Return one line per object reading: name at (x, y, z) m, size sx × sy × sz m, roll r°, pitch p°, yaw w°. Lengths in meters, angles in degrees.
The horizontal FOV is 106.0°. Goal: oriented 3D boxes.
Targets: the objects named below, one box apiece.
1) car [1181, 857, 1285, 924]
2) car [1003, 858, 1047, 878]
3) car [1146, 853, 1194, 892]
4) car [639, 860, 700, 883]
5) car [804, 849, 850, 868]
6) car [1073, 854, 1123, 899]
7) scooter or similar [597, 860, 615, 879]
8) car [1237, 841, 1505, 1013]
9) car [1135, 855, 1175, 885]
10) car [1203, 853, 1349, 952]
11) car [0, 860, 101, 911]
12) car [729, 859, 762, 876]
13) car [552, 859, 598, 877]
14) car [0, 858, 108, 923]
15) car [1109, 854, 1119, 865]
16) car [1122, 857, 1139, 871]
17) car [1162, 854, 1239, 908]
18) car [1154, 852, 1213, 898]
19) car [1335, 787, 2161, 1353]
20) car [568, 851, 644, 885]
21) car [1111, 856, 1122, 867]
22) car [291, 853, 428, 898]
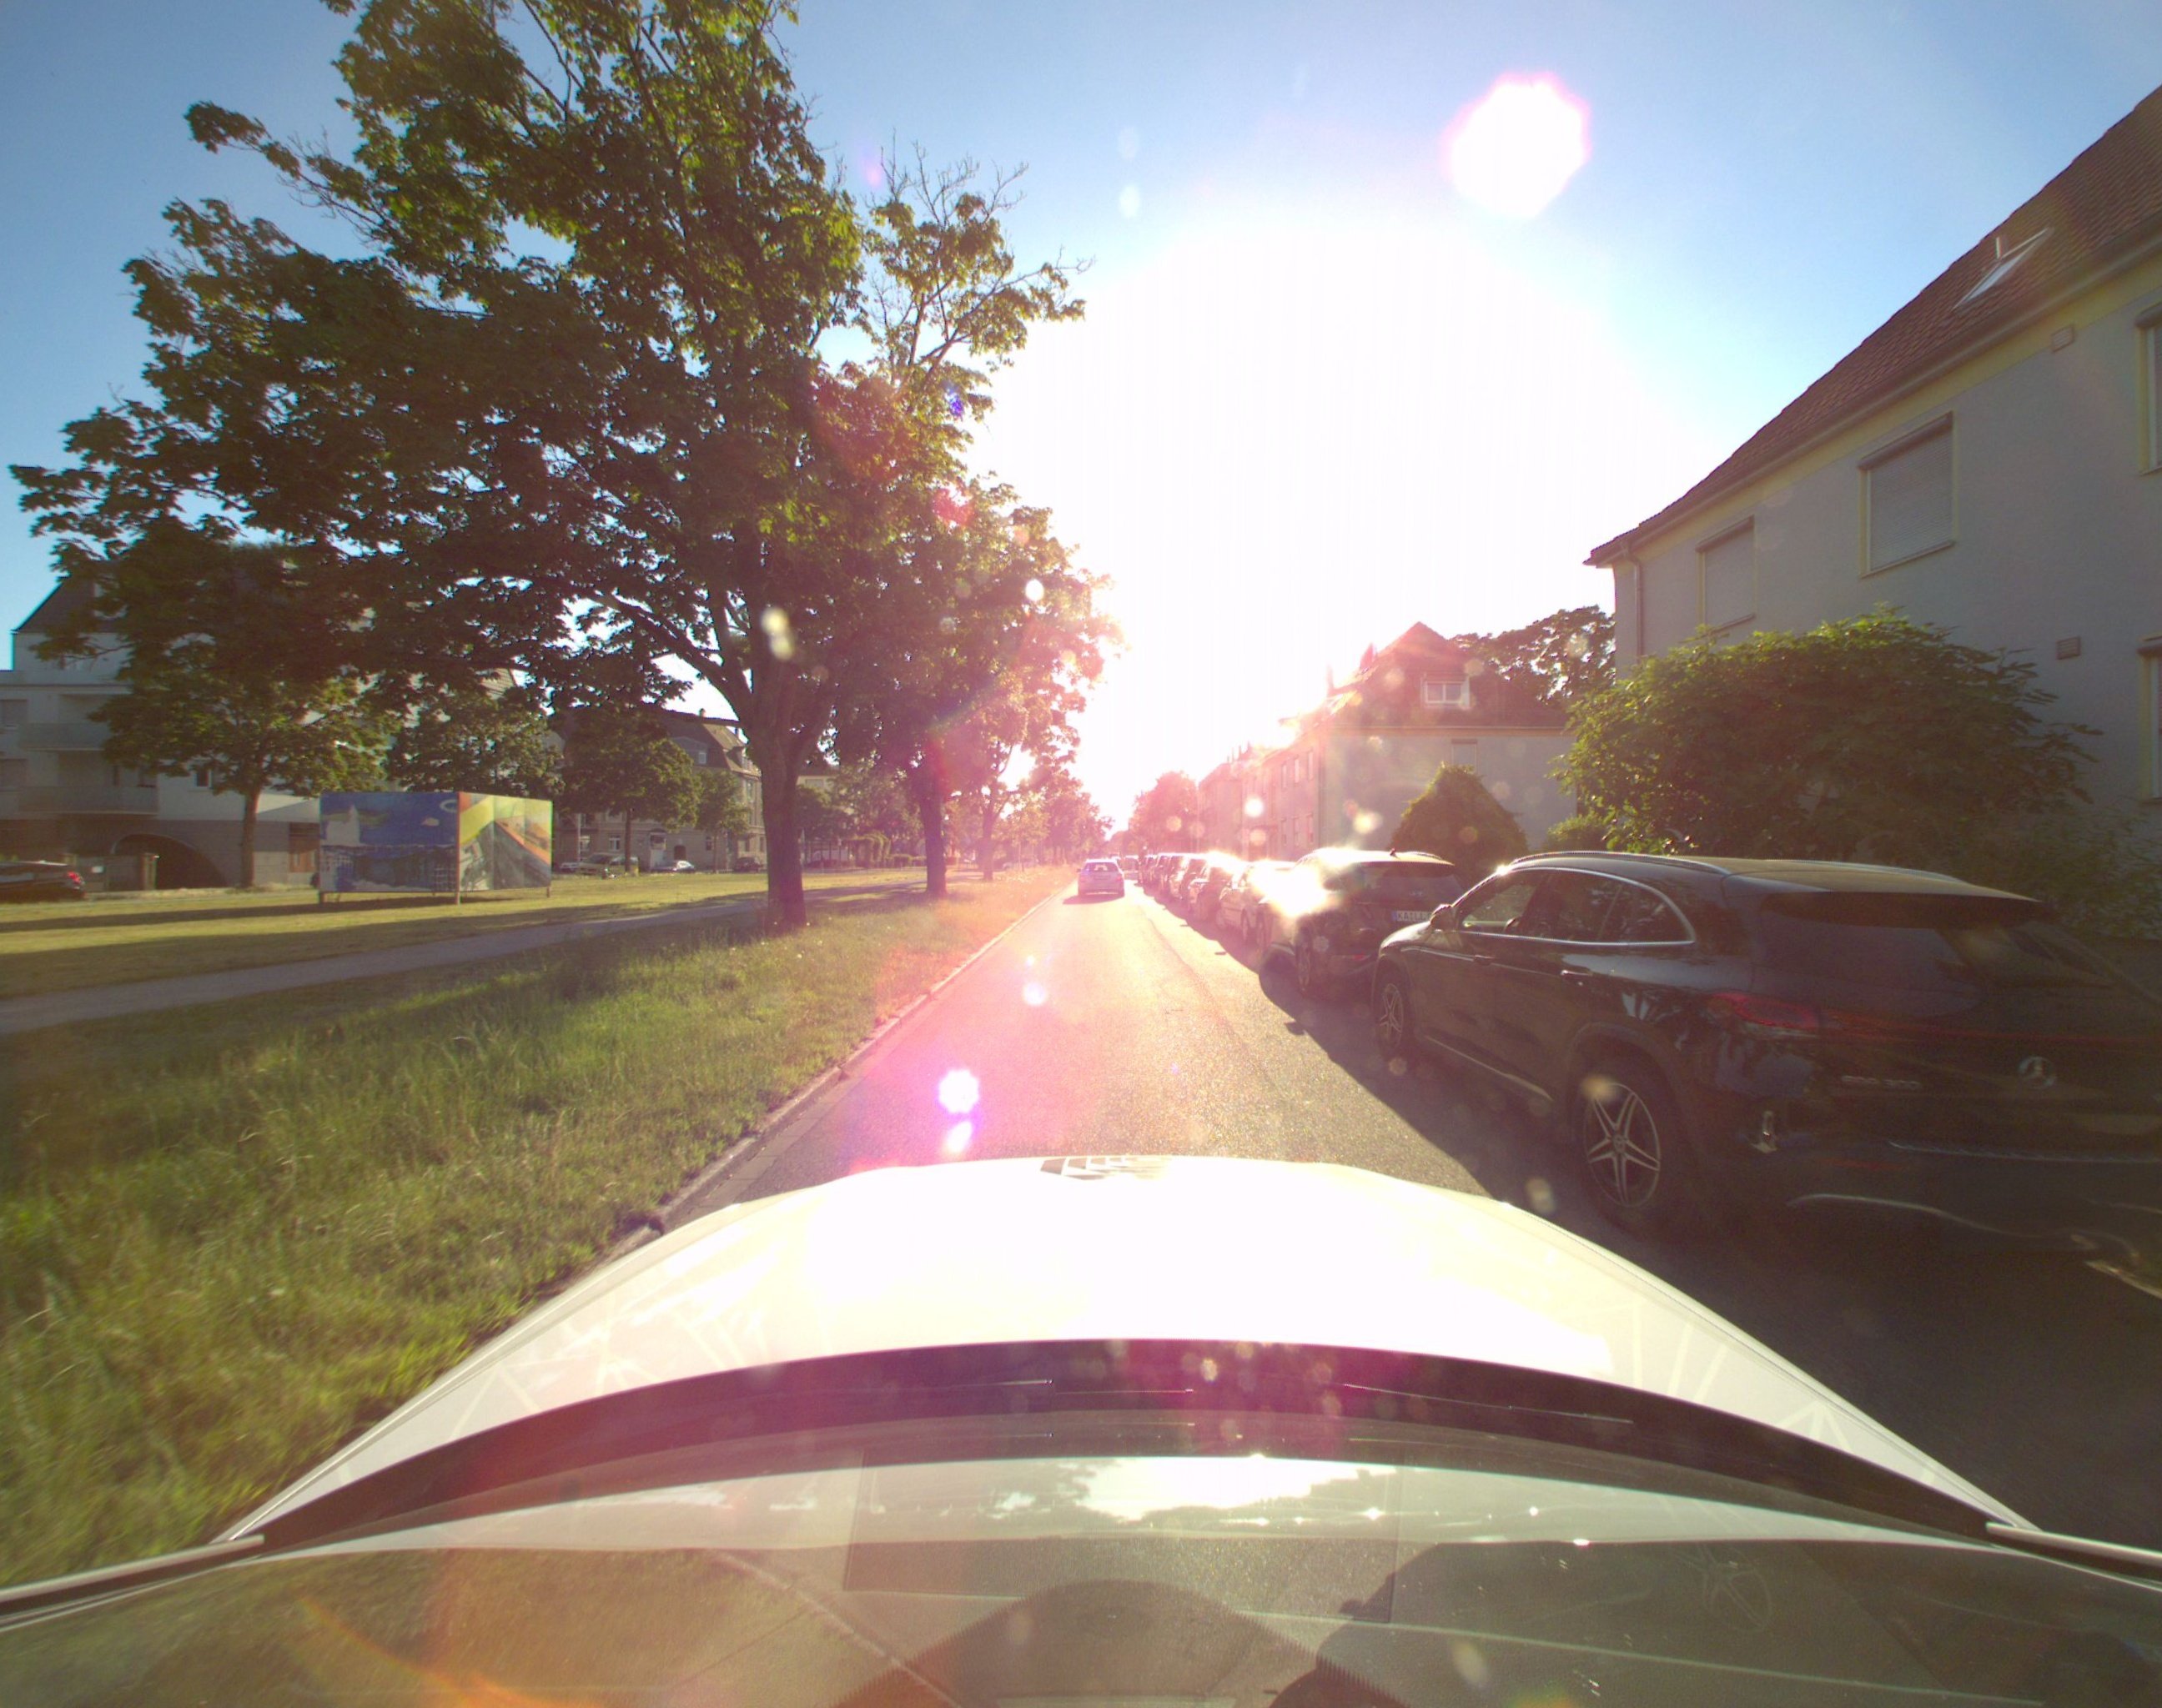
car at (3.731, 0.834, 20.781) m, size 1.985 × 1.462 × 4.565 m, roll 1°, pitch 0°, yaw 3°
car at (-5.250, 1.339, 76.405) m, size 3.880 × 1.596 × 2.000 m, roll -4°, pitch -1°, yaw 0°
car at (4.007, 0.835, 37.204) m, size 1.771 × 1.643 × 4.757 m, roll 0°, pitch -1°, yaw 1°
car at (-32.199, 1.352, 63.900) m, size 1.975 × 1.637 × 4.832 m, roll -4°, pitch -1°, yaw 3°
car at (-38.419, 0.671, 123.351) m, size 6.332 × 2.720 × 1.984 m, roll 0°, pitch 0°, yaw -29°
car at (0.692, 0.823, 31.589) m, size 1.816 × 1.566 × 4.002 m, roll -1°, pitch 0°, yaw 2°
scooter or similar at (-28.132, 0.905, 48.290) m, size 0.391 × 1.127 × 1.294 m, roll 1°, pitch -1°, yaw -6°
car at (3.301, 0.711, 10.394) m, size 1.847 × 1.657 × 4.822 m, roll 1°, pitch 0°, yaw 2°
car at (4.255, 0.900, 47.397) m, size 1.712 × 1.639 × 4.560 m, roll 2°, pitch 0°, yaw -2°
car at (3.599, 0.856, 15.833) m, size 1.722 × 1.548 × 4.206 m, roll 4°, pitch -1°, yaw 0°
car at (-39.042, 1.148, 29.384) m, size 1.814 × 1.744 × 4.462 m, roll -4°, pitch -1°, yaw 2°
car at (-36.797, 1.450, 89.438) m, size 1.637 × 1.707 × 4.296 m, roll -4°, pitch -1°, yaw 3°
car at (-49.670, 1.369, 80.027) m, size 1.689 × 1.637 × 4.080 m, roll -4°, pitch -1°, yaw 3°
car at (-33.272, 1.150, 24.824) m, size 1.882 × 1.917 × 4.328 m, roll -4°, pitch -1°, yaw 1°
car at (6.797, 1.138, 167.579) m, size 1.854 × 2.193 × 5.072 m, roll 0°, pitch -1°, yaw 2°
car at (5.533, 1.146, 91.231) m, size 1.715 × 1.597 × 4.001 m, roll -1°, pitch -1°, yaw 2°
car at (3.710, 0.810, 25.955) m, size 1.720 × 1.561 × 4.414 m, roll 1°, pitch 0°, yaw -1°
car at (3.916, 0.808, 31.767) m, size 1.759 × 1.635 × 4.765 m, roll 1°, pitch -1°, yaw 1°
car at (3.182, 0.695, 4.868) m, size 1.926 × 1.720 × 4.622 m, roll 3°, pitch 0°, yaw 1°
car at (-32.205, 0.969, 55.386) m, size 1.986 × 2.057 × 5.054 m, roll -4°, pitch -1°, yaw 2°
car at (6.465, 1.323, 149.518) m, size 1.981 × 2.023 × 4.002 m, roll 0°, pitch -1°, yaw 2°
car at (-32.737, 0.969, 37.160) m, size 1.921 × 1.828 × 4.693 m, roll -4°, pitch -1°, yaw 2°
